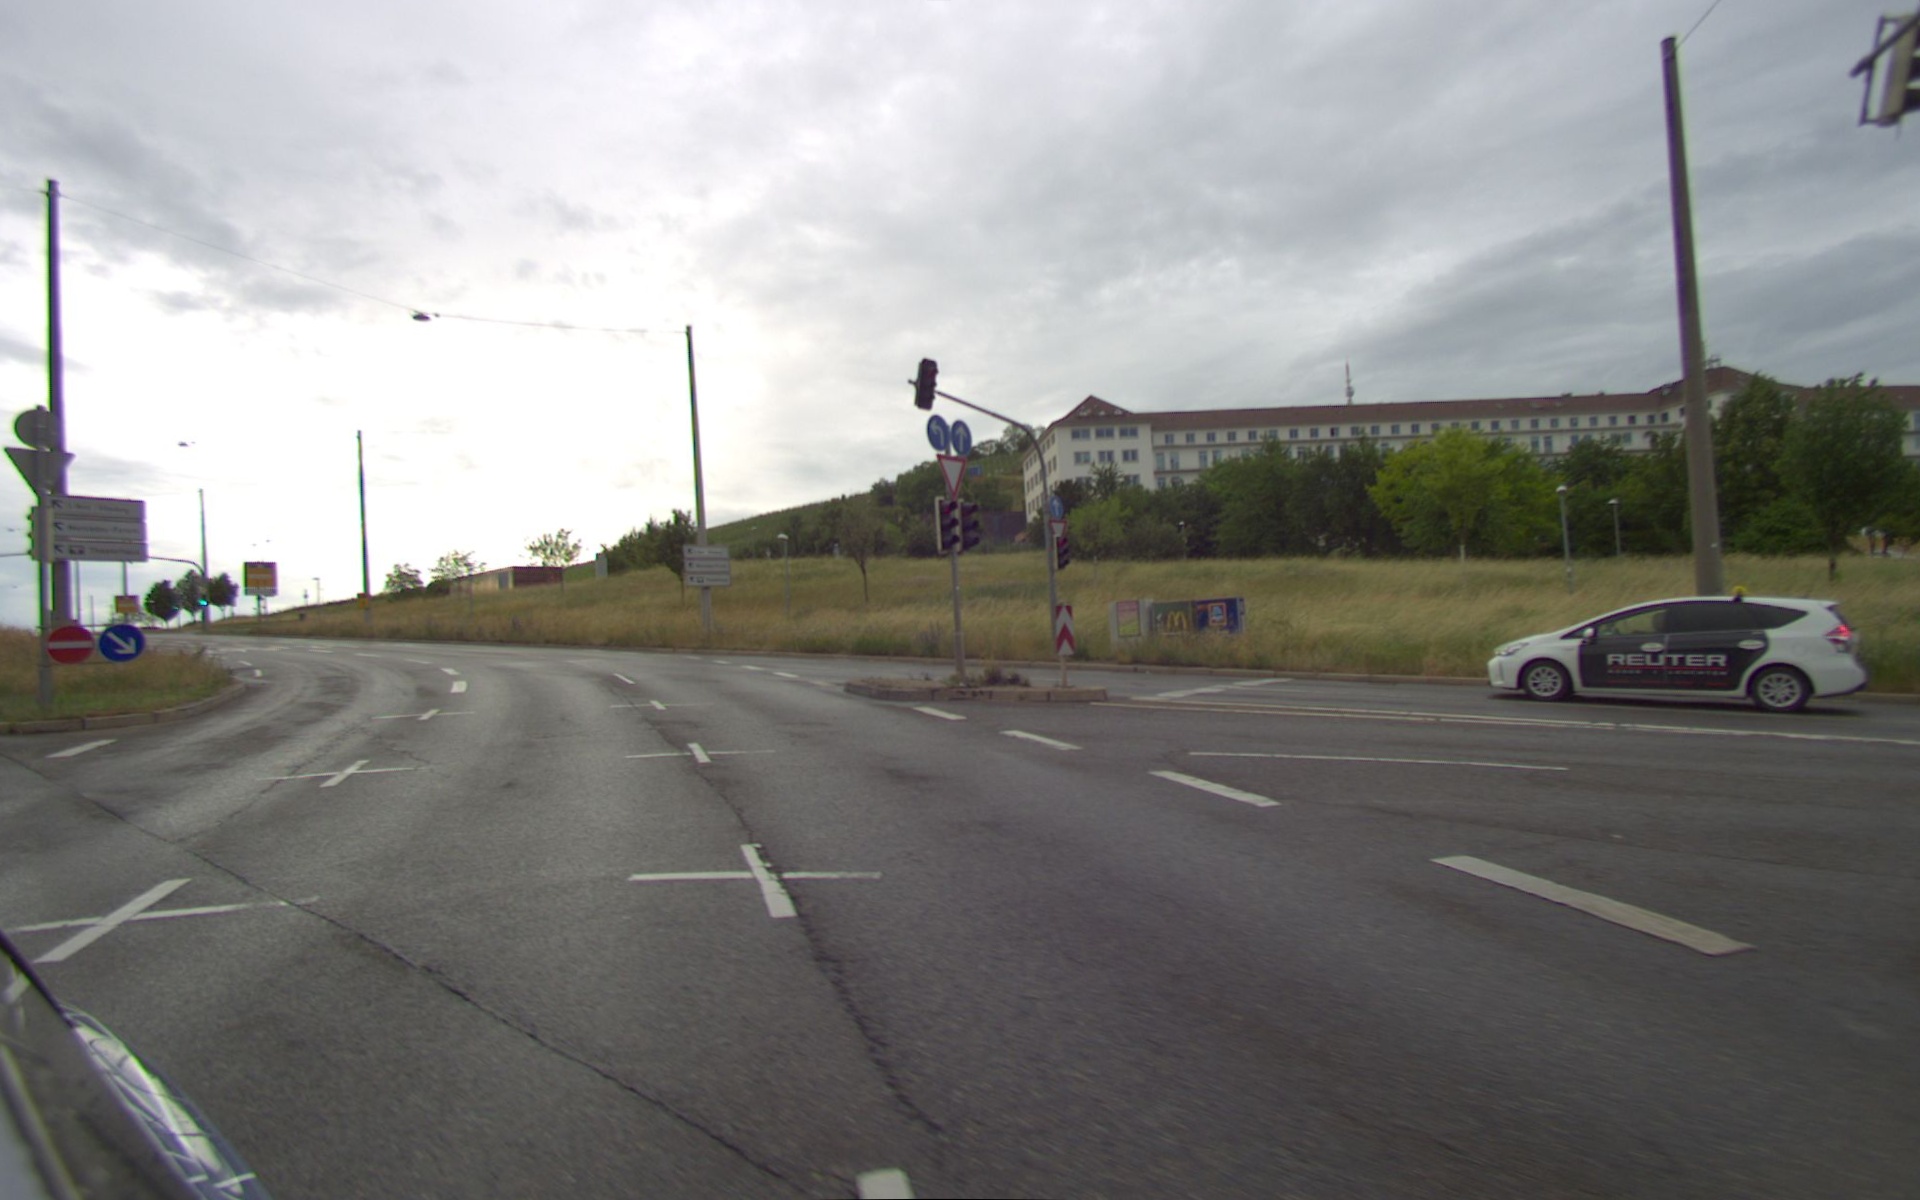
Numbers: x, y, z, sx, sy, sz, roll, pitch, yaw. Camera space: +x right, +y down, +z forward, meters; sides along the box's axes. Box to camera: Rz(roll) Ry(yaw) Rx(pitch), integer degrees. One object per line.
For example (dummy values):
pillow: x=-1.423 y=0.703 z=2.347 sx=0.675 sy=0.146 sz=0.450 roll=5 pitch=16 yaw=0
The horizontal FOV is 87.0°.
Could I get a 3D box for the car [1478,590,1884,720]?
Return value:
car: x=10.445 y=0.686 z=14.919 sx=4.676 sy=1.623 sz=1.865 roll=0 pitch=0 yaw=43
